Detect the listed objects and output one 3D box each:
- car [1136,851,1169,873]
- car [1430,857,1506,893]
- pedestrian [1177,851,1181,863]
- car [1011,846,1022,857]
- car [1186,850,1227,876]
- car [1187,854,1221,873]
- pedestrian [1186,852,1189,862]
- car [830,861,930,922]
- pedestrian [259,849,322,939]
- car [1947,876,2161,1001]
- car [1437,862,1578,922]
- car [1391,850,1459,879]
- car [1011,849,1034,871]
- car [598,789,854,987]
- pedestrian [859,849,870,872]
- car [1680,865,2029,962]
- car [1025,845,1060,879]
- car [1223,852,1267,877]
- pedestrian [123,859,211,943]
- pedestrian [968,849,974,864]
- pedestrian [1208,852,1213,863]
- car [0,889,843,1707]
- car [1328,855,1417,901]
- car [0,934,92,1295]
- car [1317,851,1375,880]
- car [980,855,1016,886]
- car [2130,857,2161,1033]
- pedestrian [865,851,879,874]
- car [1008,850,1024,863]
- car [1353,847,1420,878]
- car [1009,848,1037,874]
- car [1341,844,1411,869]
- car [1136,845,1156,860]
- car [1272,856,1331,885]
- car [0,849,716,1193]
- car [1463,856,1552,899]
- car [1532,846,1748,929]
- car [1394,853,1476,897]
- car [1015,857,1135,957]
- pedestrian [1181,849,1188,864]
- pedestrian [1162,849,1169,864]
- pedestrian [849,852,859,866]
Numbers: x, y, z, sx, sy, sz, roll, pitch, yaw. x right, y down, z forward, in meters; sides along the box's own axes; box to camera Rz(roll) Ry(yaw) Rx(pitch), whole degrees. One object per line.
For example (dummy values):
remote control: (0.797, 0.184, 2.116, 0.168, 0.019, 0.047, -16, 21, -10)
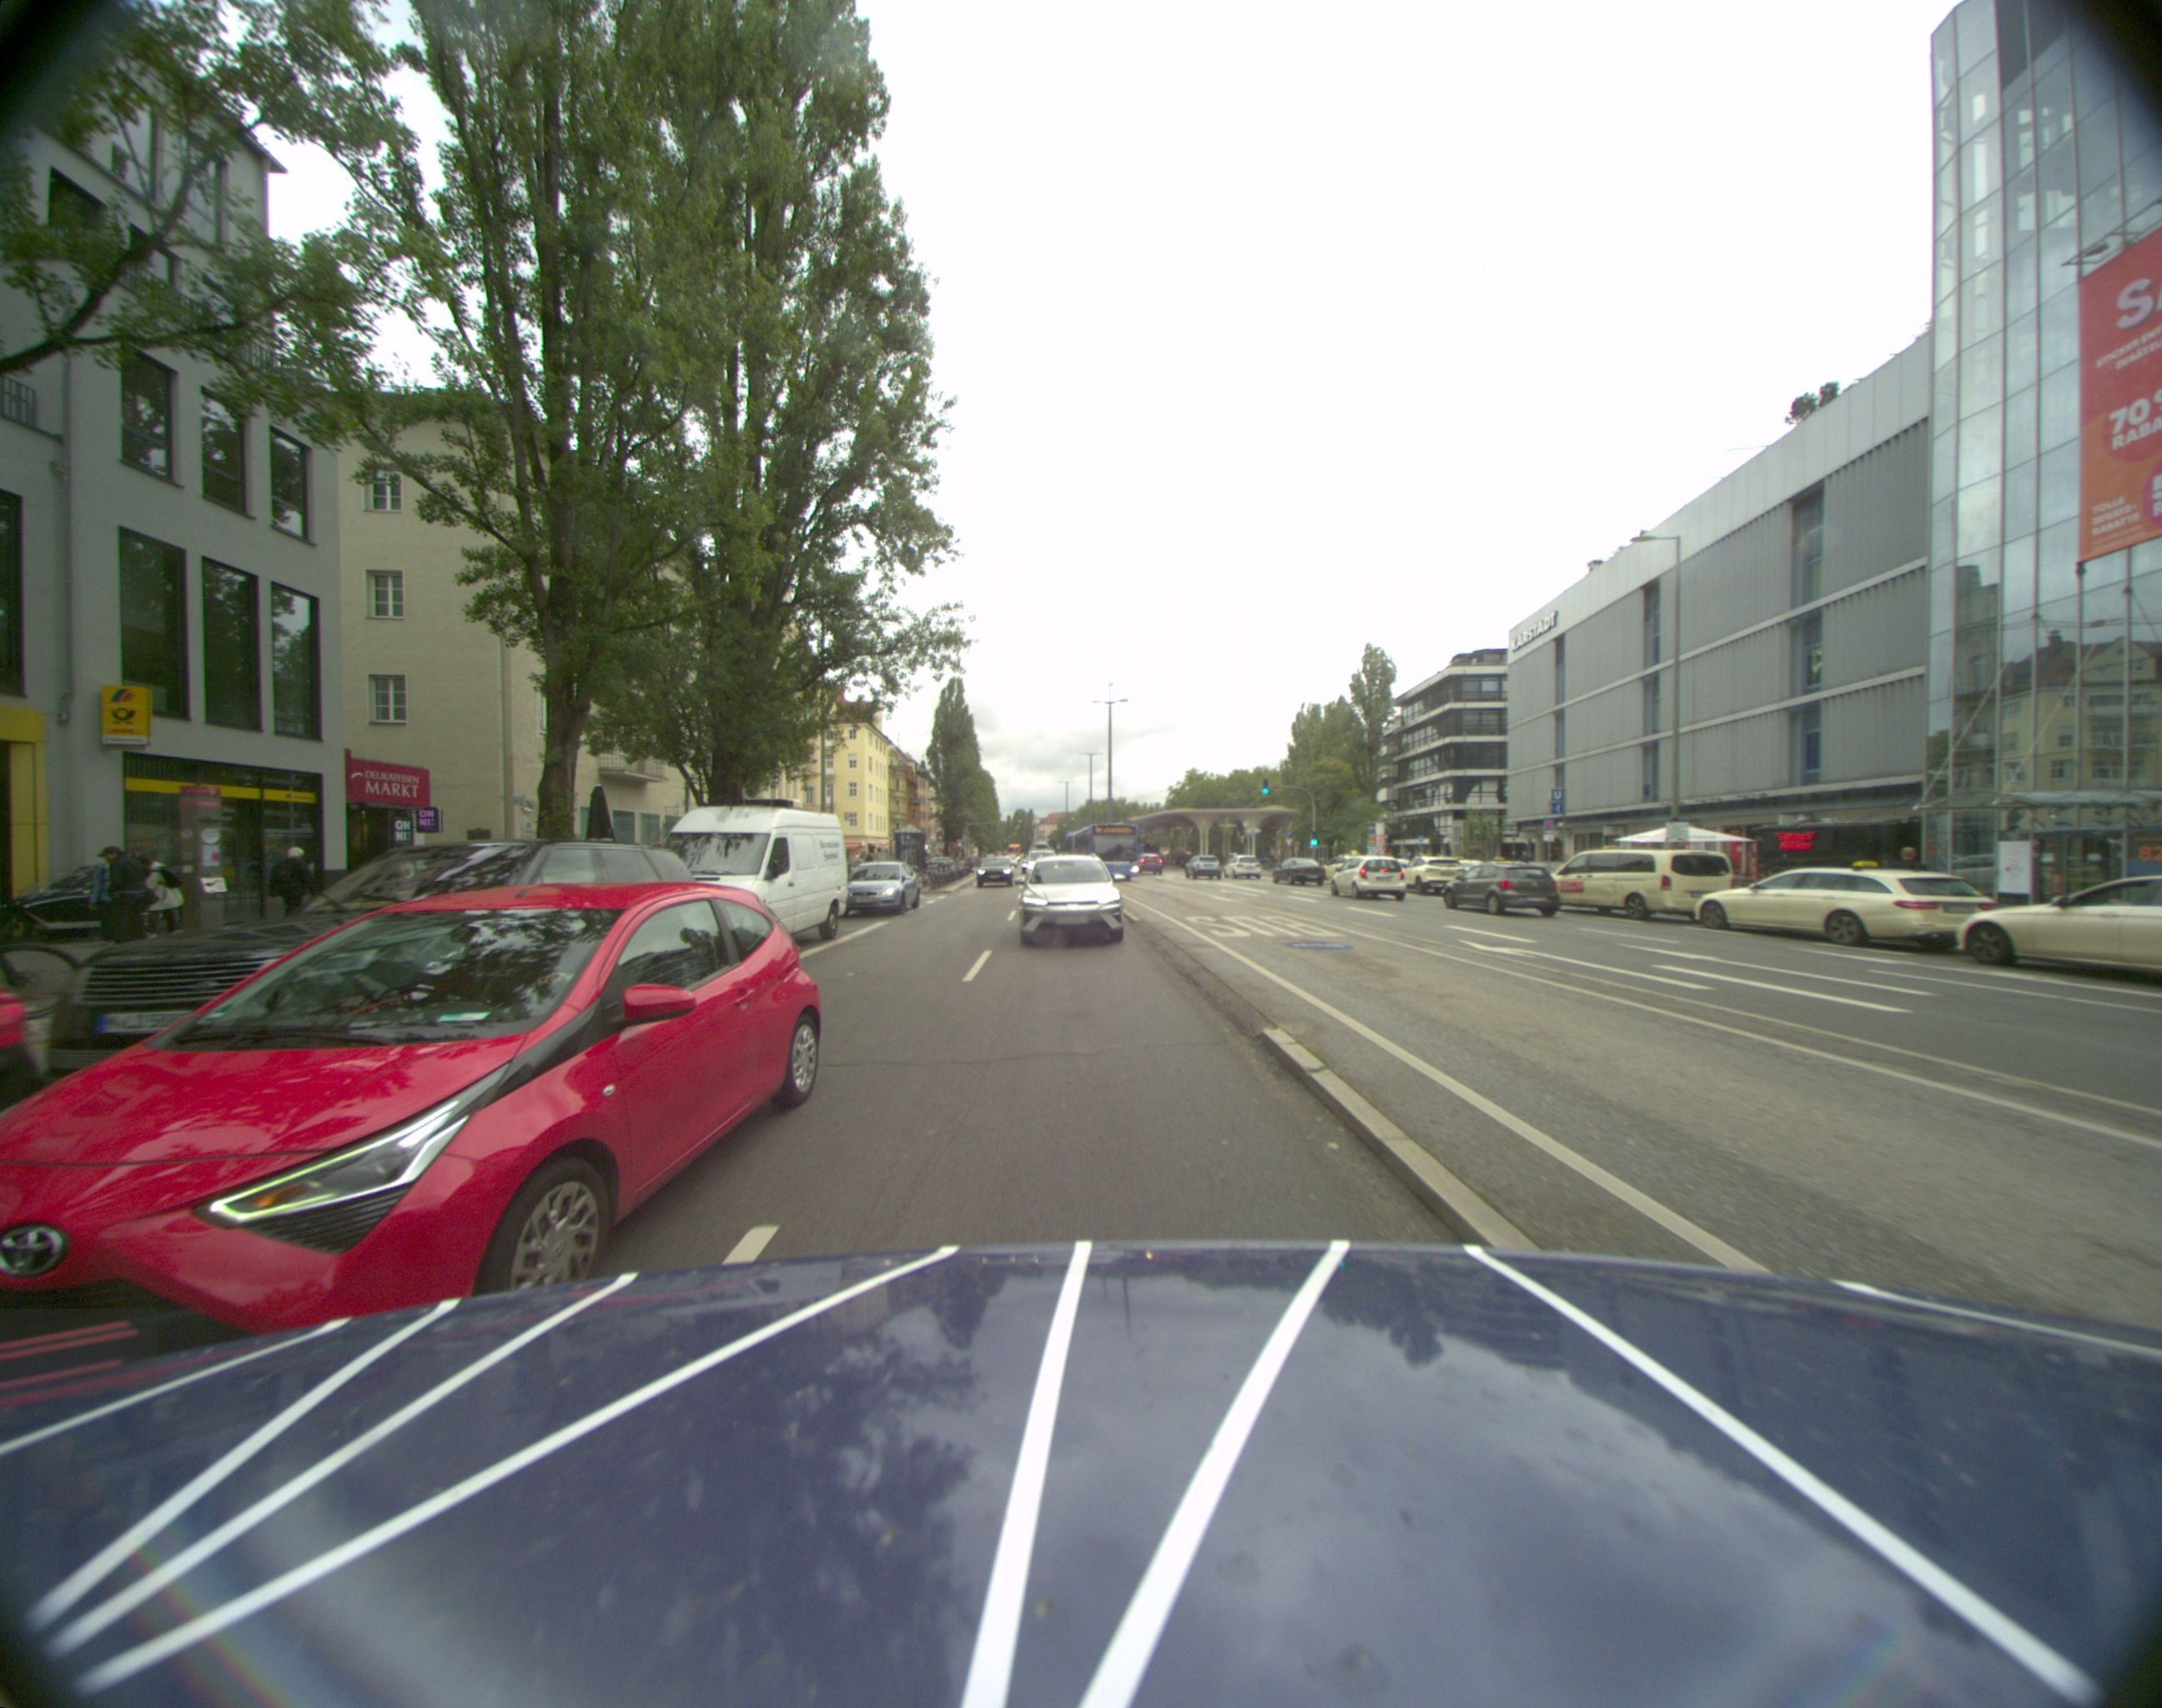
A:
car: (5.609, 0.602, 60.330, 1.999, 1.611, 4.411, 1, 0, -3)
car: (18.216, 0.949, 35.944, 1.756, 1.527, 4.001, 0, 1, 4)
pedestrian: (12.527, 0.391, 96.822, 0.426, 1.493, 0.490, 1, 1, 22)
car: (-10.383, -0.391, 122.356, 1.859, 1.696, 3.998, 1, 1, -5)
car: (8.102, 0.553, 49.428, 1.822, 1.536, 3.999, 2, 0, -3)
car: (10.720, 0.818, 66.651, 1.965, 1.537, 4.946, 1, 0, -3)
pedestrian: (13.510, 0.373, 96.308, 0.303, 1.369, 0.270, 0, 1, -6)
car: (-5.654, 0.997, 21.898, 1.729, 1.445, 4.147, -2, 1, 0)
pedestrian: (-15.600, 0.768, 15.001, 0.719, 1.714, 0.741, 1, 1, 33)
car: (14.382, 1.126, 9.557, 1.860, 1.461, 4.986, 2, 1, 10)
car: (12.044, 1.017, 21.796, 1.788, 1.457, 4.000, 1, 0, 0)
car: (19.358, 0.563, 42.942, 1.912, 1.558, 3.999, 0, 0, -2)
car: (-4.979, 0.482, 64.757, 1.873, 1.760, 4.233, -2, 1, -4)
car: (-5.781, 0.425, 13.401, 1.999, 2.726, 5.552, -2, 1, -2)
pedestrian: (-14.957, 0.444, 52.539, 0.663, 1.573, 0.535, 0, 1, -28)
car: (15.216, 1.045, 15.531, 1.982, 1.543, 5.085, 0, 0, 1)
car: (-2.359, 0.458, 46.025, 1.999, 1.889, 4.233, -2, 1, -4)
car: (11.085, 0.664, 51.649, 1.999, 1.591, 4.288, 0, 0, -1)
pedestrian: (-17.009, 0.860, 14.159, 0.767, 1.526, 0.708, 1, 1, -4)
pedestrian: (-13.362, 0.343, 92.389, 0.732, 1.792, 0.709, 0, 3, -13)
pedestrian: (16.205, 0.438, 95.200, 0.549, 1.330, 0.591, 0, 1, -5)
car: (-2.525, 1.007, 3.279, 1.669, 1.438, 3.596, -1, 1, 3)
car: (10.850, 0.847, 28.630, 1.958, 1.580, 4.000, 0, 1, 2)
car: (-5.226, 1.103, 1.034, 1.776, 1.425, 4.570, -2, 0, -1)
car: (15.817, 0.650, 45.618, 1.591, 1.602, 4.474, 0, 0, -4)
car: (-4.266, 0.818, 38.924, 1.741, 1.462, 4.047, -1, 0, -7)
car: (11.490, 0.907, 5.093, 2.023, 1.706, 4.982, 0, 1, 1)
pedestrian: (-16.060, 0.658, 58.434, 0.741, 1.698, 0.703, -1, 1, -45)
car: (-8.599, 0.324, 100.384, 2.000, 1.630, 3.997, 0, 0, -6)
car: (15.800, 0.401, 39.545, 1.950, 1.532, 4.849, 0, 0, 6)
car: (-4.341, 0.503, 56.901, 1.999, 1.740, 3.998, -2, 1, -4)
car: (18.709, 0.128, 48.467, 1.861, 1.502, 4.291, 0, 0, -18)
car: (7.971, -0.181, 93.487, 1.999, 1.767, 4.597, 0, 0, -2)
car: (11.658, 0.837, 40.479, 1.733, 1.401, 4.687, 0, 0, 0)
car: (-5.260, 0.883, 6.439, 1.934, 1.794, 4.779, -1, 1, 1)
car: (17.364, 0.911, 31.143, 1.775, 1.607, 4.002, 0, 1, 7)
car: (15.239, 0.794, 21.238, 1.999, 2.002, 5.320, 1, 1, -1)
car: (15.097, 0.826, 32.648, 1.889, 1.689, 4.385, 1, 1, 7)
car: (-0.198, 0.861, 14.274, 1.897, 1.483, 3.998, -2, 1, -3)
pedestrian: (12.628, 0.346, 92.736, 0.666, 1.840, 0.789, 0, 1, 16)
pedestrian: (10.153, 0.320, 91.448, 0.712, 1.738, 0.788, 0, 1, -5)
pedestrian: (-20.872, 0.475, 69.885, 0.701, 1.238, 0.918, 0, 2, -5)
